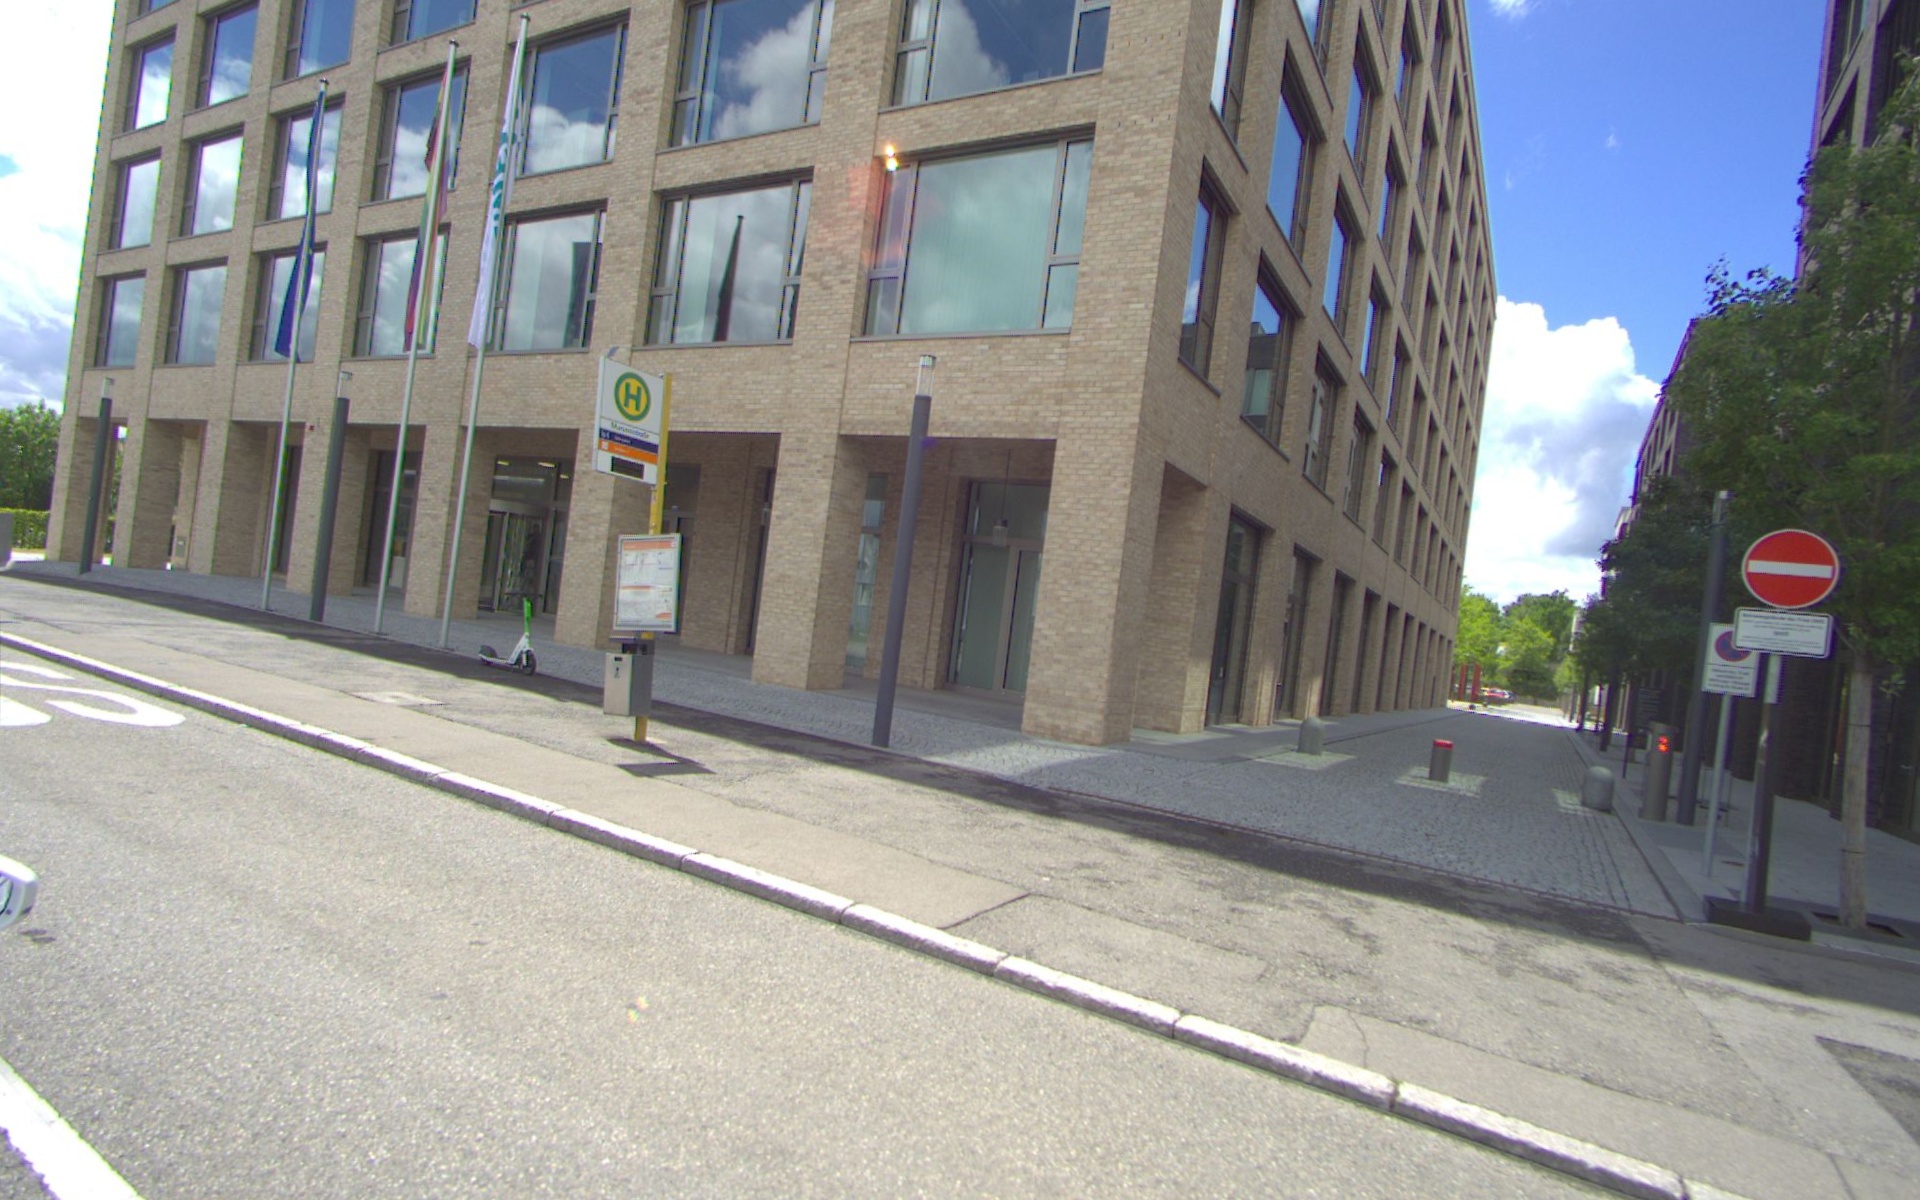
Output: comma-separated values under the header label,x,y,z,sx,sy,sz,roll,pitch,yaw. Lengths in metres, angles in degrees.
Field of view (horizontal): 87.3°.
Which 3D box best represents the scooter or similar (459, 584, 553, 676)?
label,x,y,z,sx,sy,sz,roll,pitch,yaw
scooter or similar,-6.548,0.424,14.494,1.380,1.167,0.427,6,0,31
